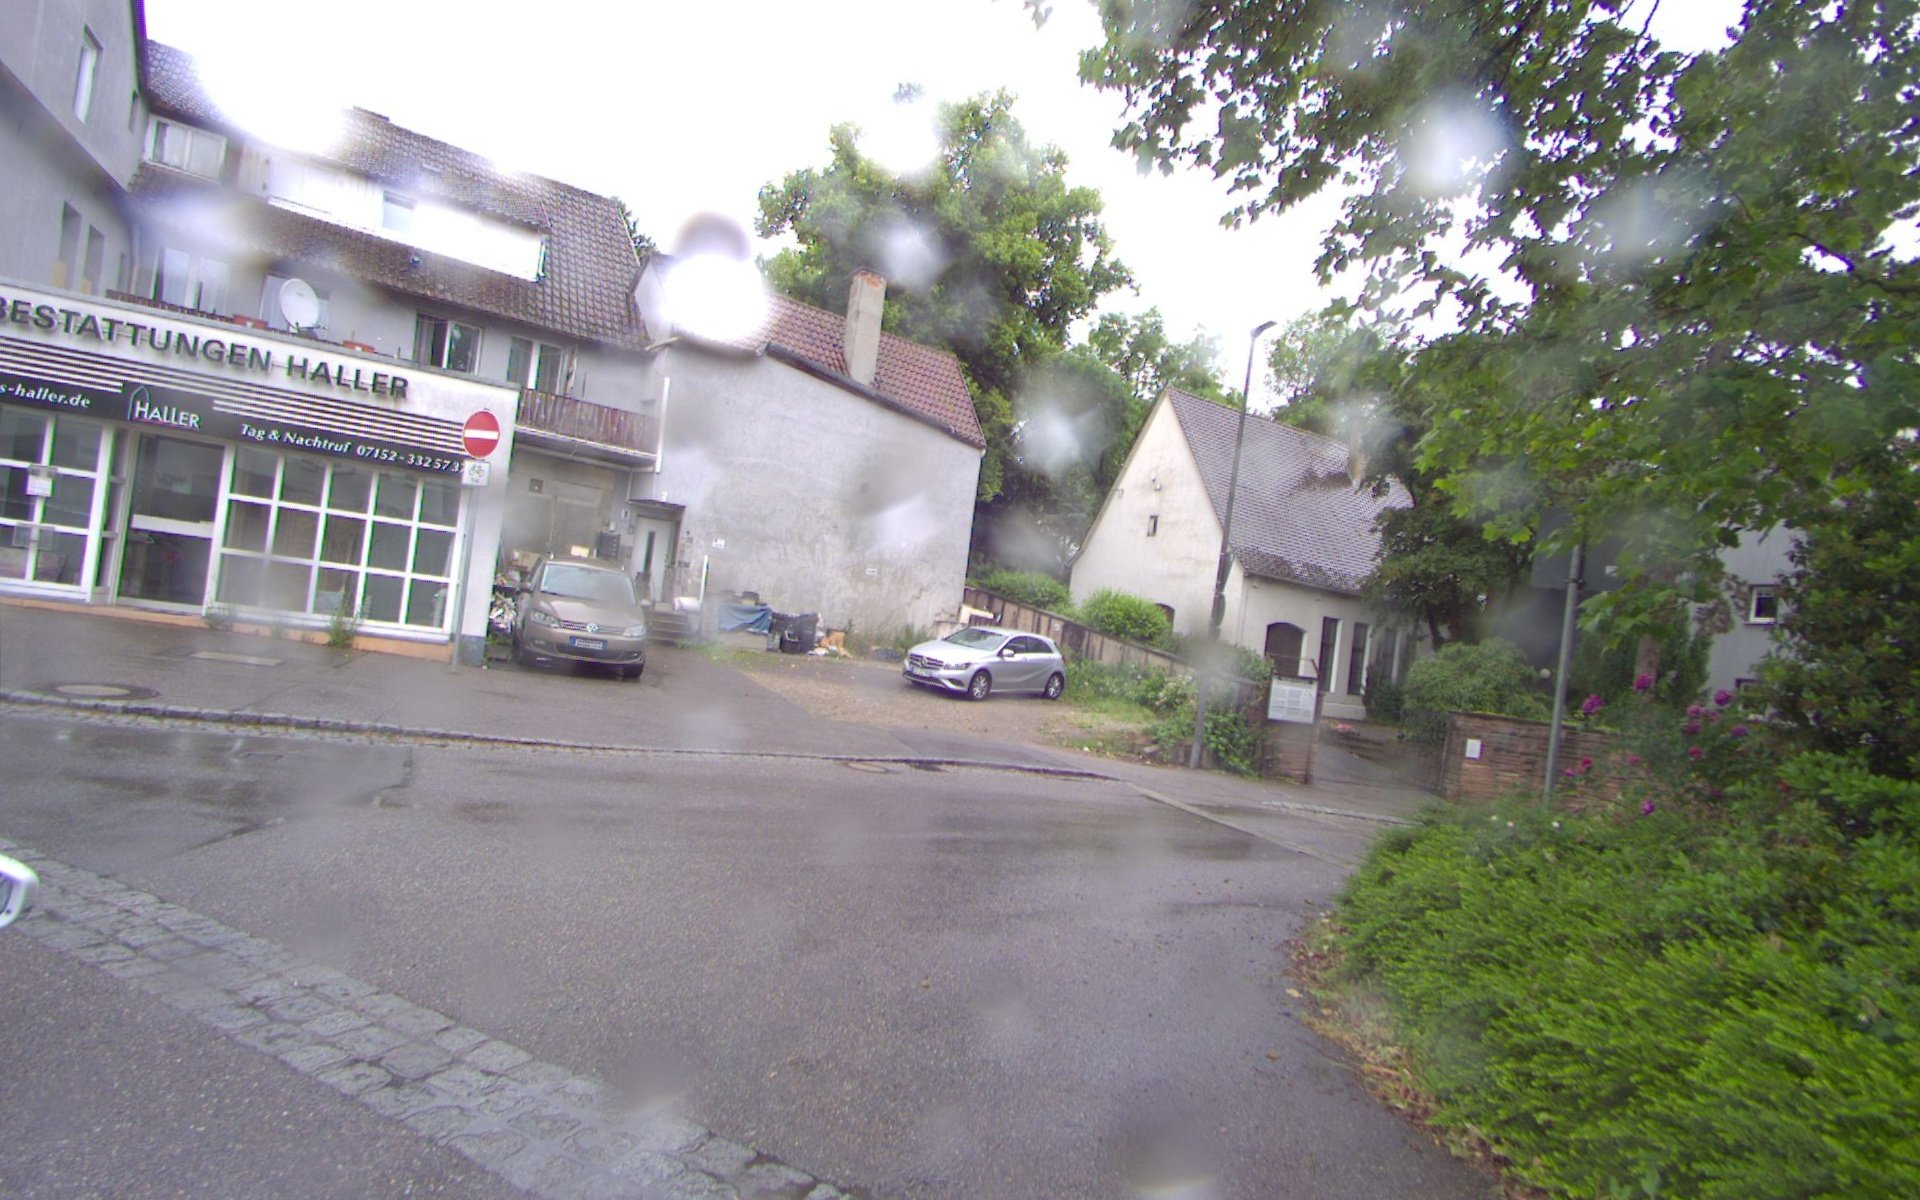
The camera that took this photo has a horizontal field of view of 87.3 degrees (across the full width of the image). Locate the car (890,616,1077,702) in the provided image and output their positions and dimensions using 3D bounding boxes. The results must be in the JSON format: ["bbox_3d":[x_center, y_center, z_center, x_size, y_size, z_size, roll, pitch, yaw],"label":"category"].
[{"bbox_3d":[0.586,1.302,21.430,1.717,1.406,4.022,10,2,40],"label":"car"}]

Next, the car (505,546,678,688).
[{"bbox_3d":[-6.218,0.165,16.617,1.908,1.749,4.634,8,0,-28],"label":"car"}]
